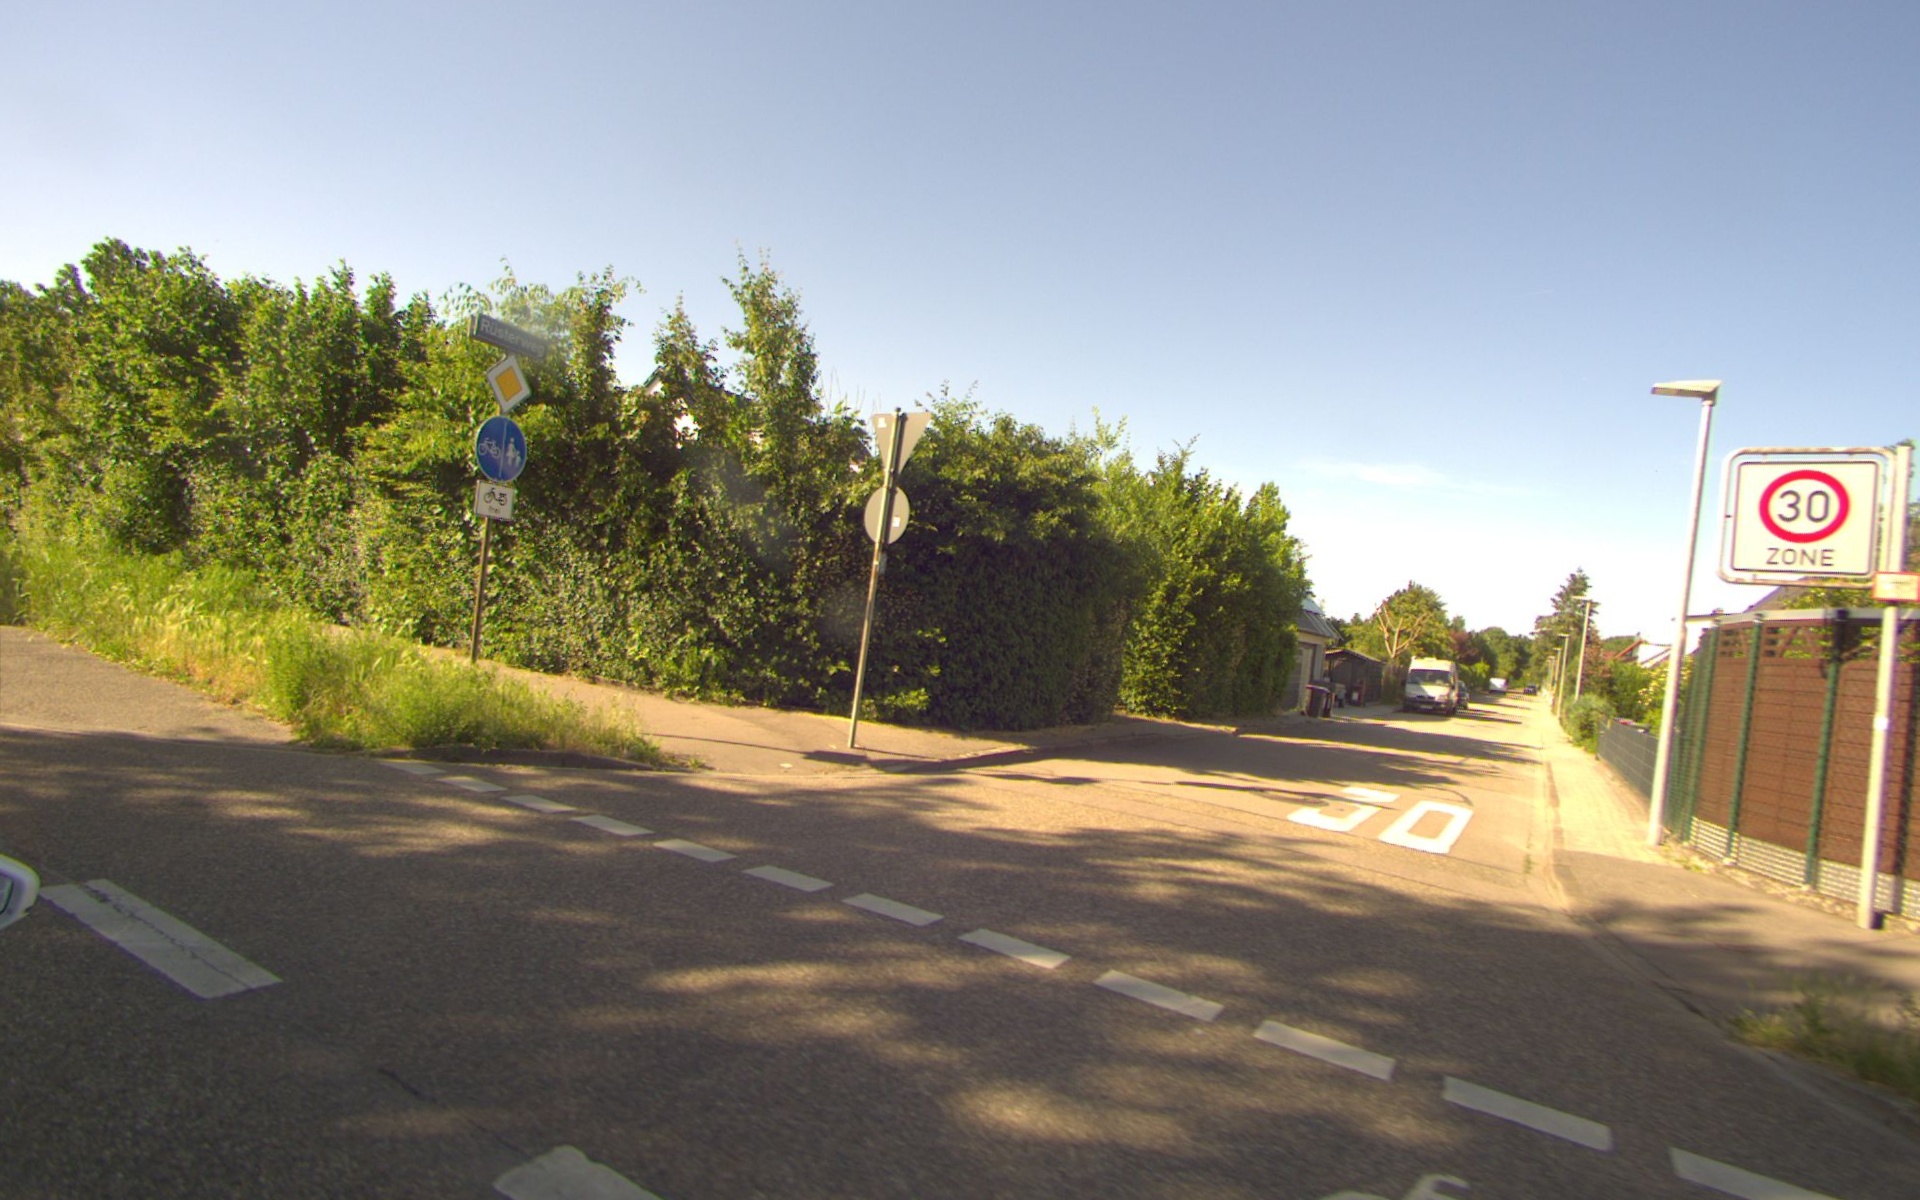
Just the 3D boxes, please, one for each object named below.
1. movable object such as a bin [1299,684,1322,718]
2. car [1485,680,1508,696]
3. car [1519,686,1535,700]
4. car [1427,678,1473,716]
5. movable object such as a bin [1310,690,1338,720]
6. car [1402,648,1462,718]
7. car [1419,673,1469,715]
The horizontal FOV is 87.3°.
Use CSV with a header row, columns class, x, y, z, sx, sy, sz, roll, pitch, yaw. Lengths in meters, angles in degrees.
class,x,y,z,sx,sy,sz,roll,pitch,yaw
movable object such as a bin,10.776,3.102,30.937,0.441,0.972,0.479,7,0,34
car,67.629,11.145,126.796,1.881,1.731,3.989,7,-1,35
car,81.660,13.414,144.820,1.657,1.695,3.540,7,-1,32
car,27.132,5.344,55.613,1.965,1.778,3.973,7,-1,28
movable object such as a bin,11.545,3.338,31.933,0.609,0.853,0.588,7,0,37
car,21.524,3.839,45.711,1.965,2.678,5.689,7,-3,28
car,24.554,4.746,50.931,1.965,1.778,3.973,7,-1,28
